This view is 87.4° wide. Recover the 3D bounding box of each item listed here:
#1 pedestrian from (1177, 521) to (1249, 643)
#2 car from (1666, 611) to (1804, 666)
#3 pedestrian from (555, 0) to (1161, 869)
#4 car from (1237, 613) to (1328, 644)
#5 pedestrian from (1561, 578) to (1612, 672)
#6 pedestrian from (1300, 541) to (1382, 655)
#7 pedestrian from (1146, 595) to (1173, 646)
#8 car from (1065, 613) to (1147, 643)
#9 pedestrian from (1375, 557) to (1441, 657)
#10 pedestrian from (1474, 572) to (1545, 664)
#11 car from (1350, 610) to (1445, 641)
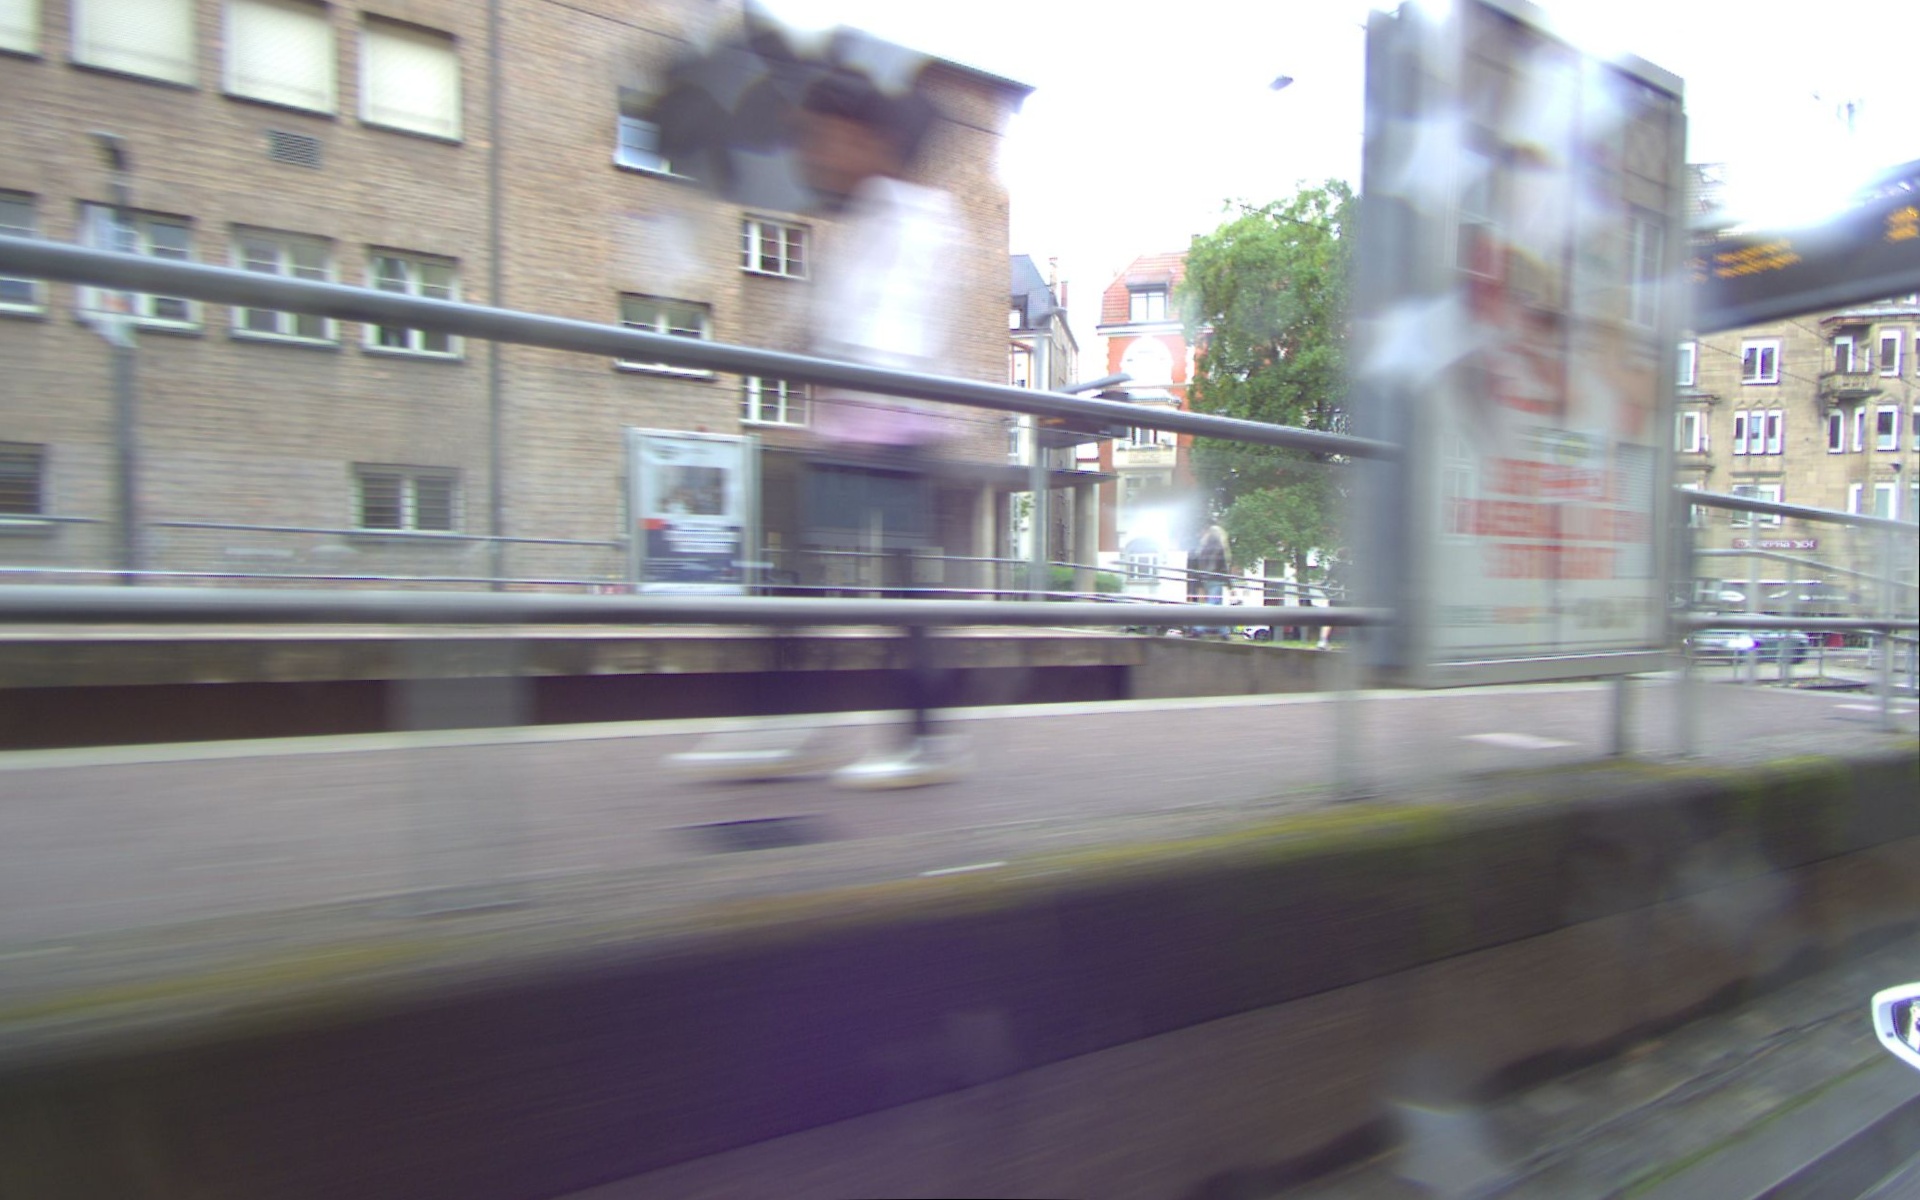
[{"bbox_3d":[3.720,-0.260,14.772,0.681,1.721,0.660,3,0,-33],"label":"pedestrian"},{"bbox_3d":[23.268,1.132,30.104,4.708,1.517,1.636,1,0,-30],"label":"car"},{"bbox_3d":[-0.316,-0.436,2.478,1.098,1.798,1.108,1,1,-30],"label":"pedestrian"},{"bbox_3d":[15.801,1.382,49.443,4.083,1.421,1.743,1,-1,12],"label":"car"},{"bbox_3d":[12.582,0.502,20.160,0.790,1.842,0.508,1,1,-30],"label":"pedestrian"},{"bbox_3d":[6.094,-0.026,16.066,0.873,1.718,0.740,5,-1,-30],"label":"pedestrian"},{"bbox_3d":[6.712,0.679,33.776,0.681,1.697,0.600,1,-1,-33],"label":"pedestrian"},{"bbox_3d":[7.480,1.413,51.293,4.059,1.421,1.743,1,-1,12],"label":"car"},{"bbox_3d":[7.697,0.124,17.270,0.633,1.669,0.740,2,0,-30],"label":"pedestrian"},{"bbox_3d":[9.824,0.320,17.960,0.945,1.604,0.689,2,0,-30],"label":"pedestrian"},{"bbox_3d":[21.000,1.228,48.337,3.919,1.421,1.743,1,-1,12],"label":"car"}]
